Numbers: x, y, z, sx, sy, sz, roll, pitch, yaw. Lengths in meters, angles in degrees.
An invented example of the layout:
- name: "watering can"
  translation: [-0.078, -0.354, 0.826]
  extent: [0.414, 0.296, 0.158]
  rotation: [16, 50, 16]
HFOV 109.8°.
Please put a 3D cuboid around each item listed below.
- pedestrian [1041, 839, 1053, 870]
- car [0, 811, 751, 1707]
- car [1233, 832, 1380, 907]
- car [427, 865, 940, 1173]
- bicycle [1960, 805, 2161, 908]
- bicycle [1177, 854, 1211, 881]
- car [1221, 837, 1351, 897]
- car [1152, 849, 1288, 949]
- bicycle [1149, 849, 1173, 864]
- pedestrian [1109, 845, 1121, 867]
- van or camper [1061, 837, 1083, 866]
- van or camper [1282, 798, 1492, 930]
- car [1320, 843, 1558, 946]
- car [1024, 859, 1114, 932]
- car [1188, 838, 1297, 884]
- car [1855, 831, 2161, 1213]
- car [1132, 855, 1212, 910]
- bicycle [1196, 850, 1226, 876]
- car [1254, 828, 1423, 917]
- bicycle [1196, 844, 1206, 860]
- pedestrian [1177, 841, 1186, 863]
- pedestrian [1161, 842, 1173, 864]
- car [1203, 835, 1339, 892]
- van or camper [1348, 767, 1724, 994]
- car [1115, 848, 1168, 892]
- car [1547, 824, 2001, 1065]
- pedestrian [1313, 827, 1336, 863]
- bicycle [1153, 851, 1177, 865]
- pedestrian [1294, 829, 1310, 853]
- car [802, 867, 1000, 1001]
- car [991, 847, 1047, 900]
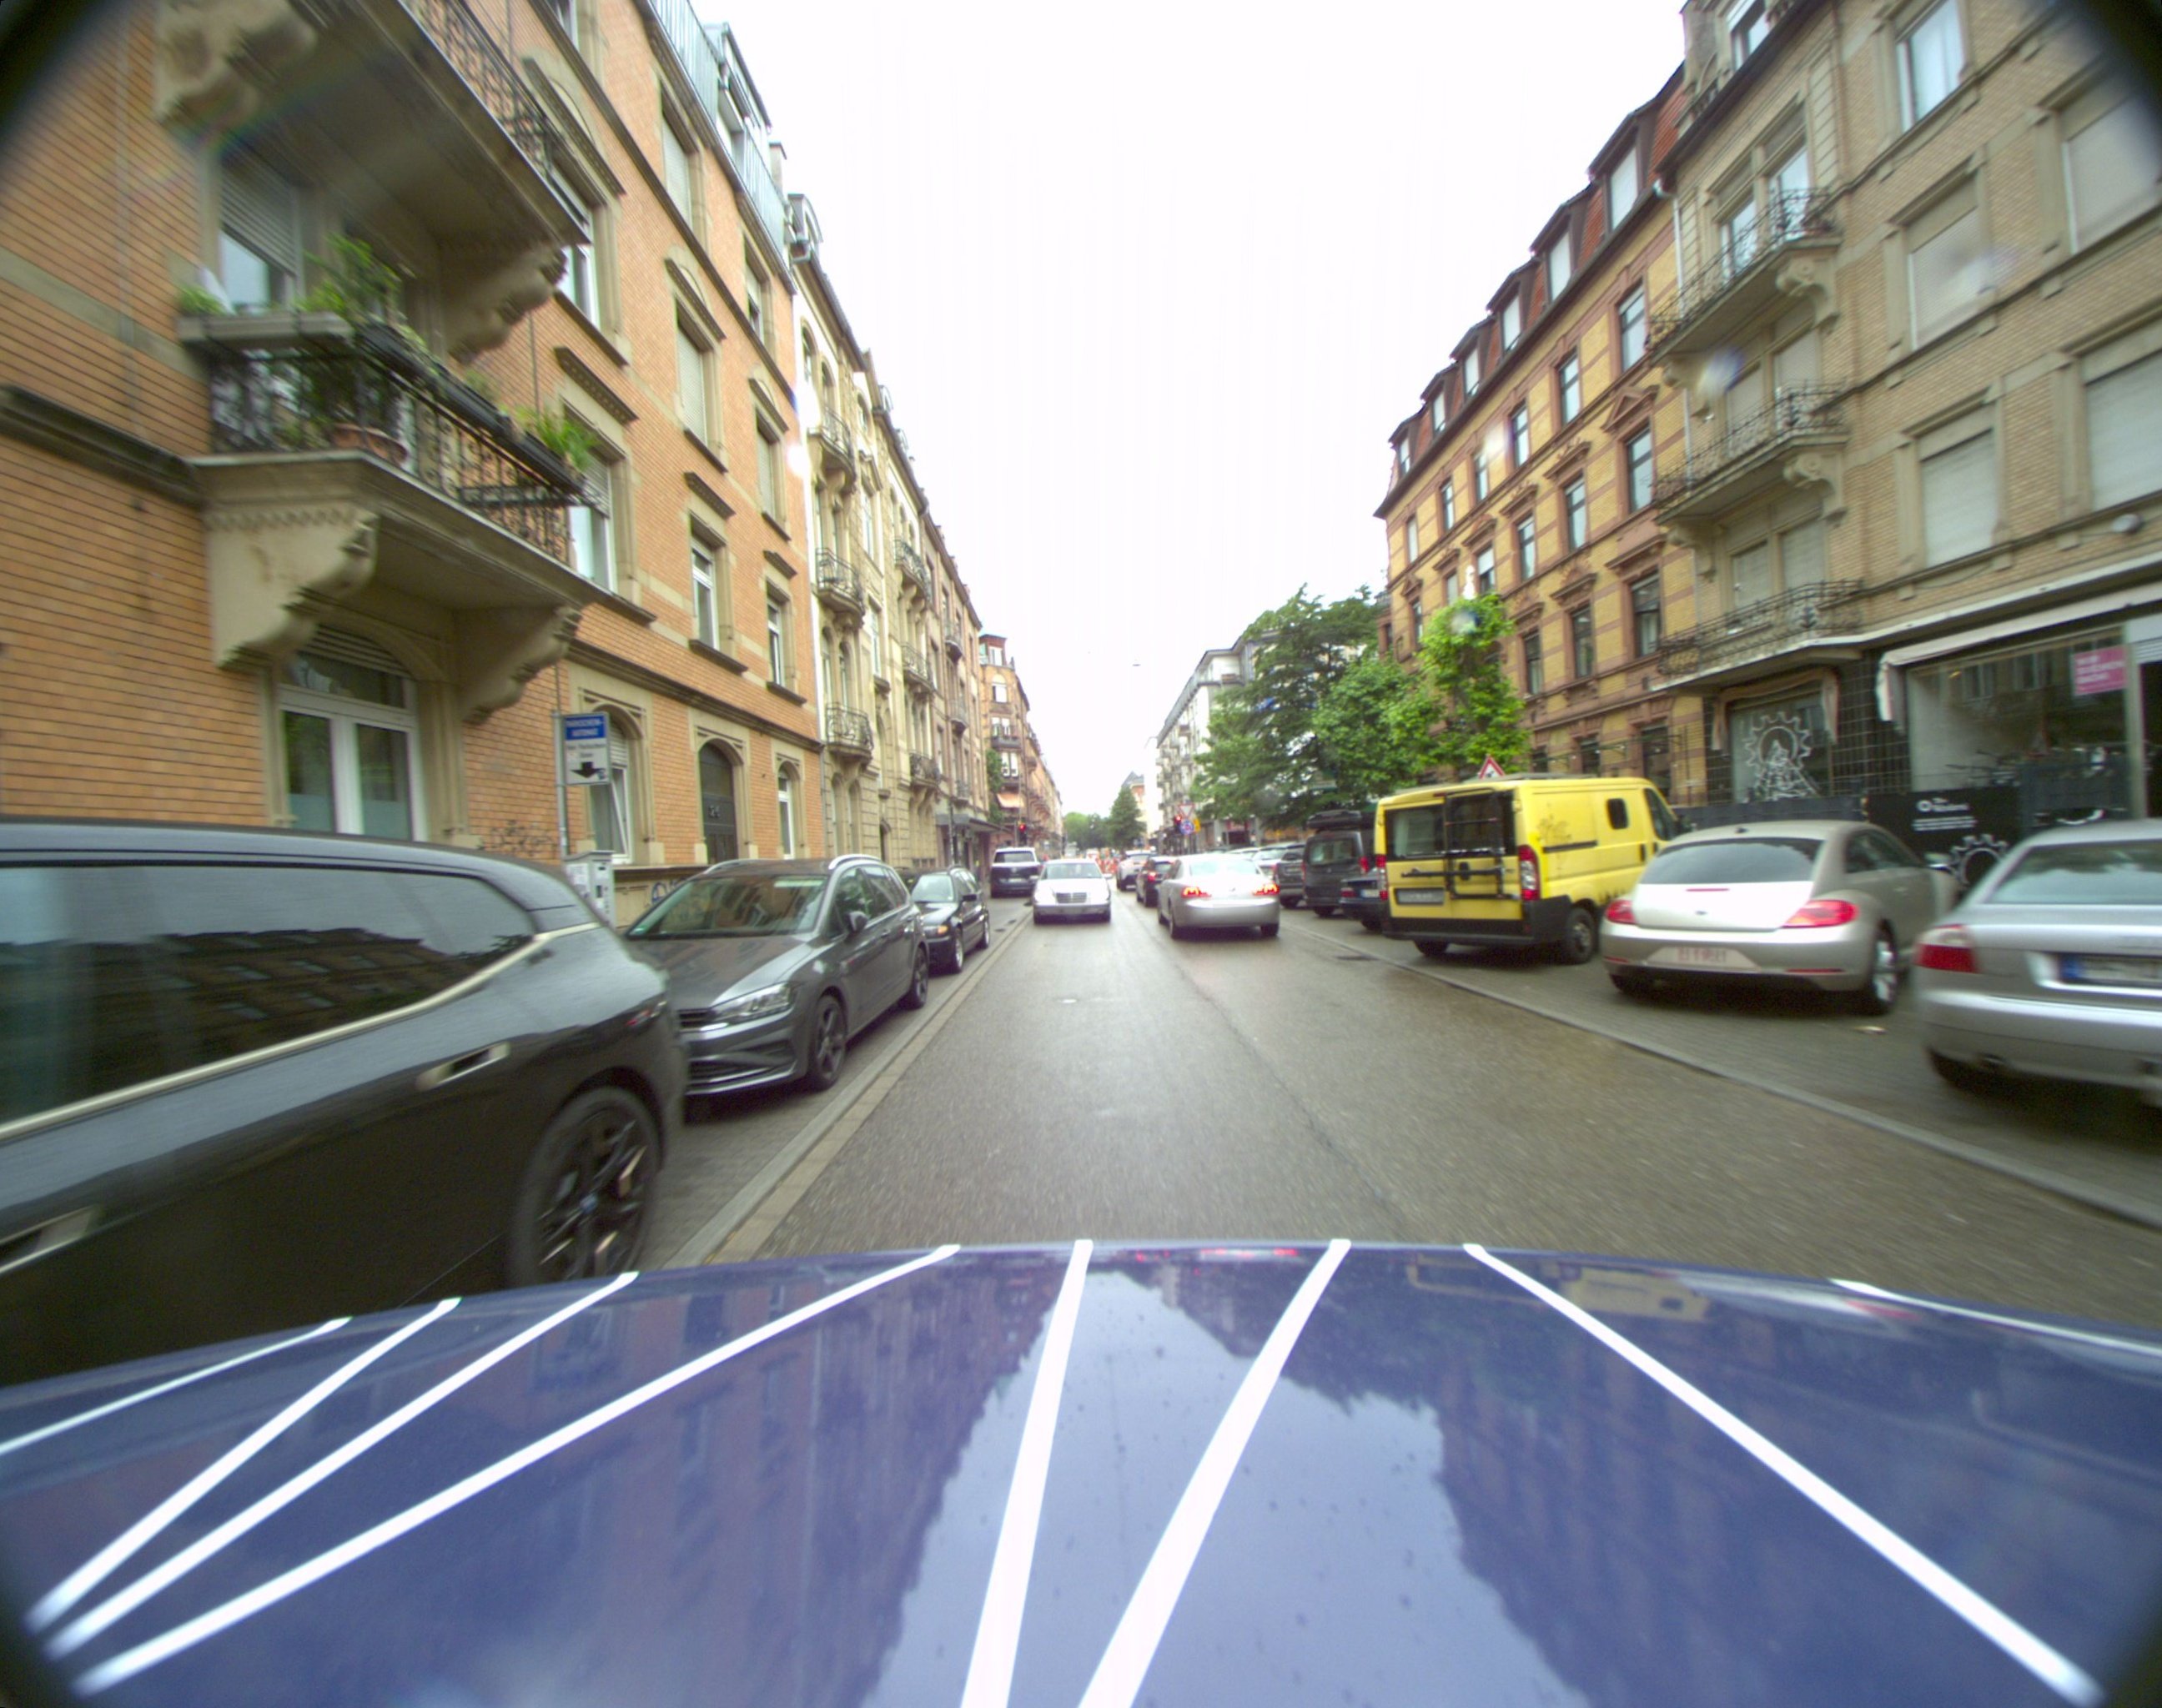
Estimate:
- name: "pedestrian"
  translation: [-2.917, 0.031, 65.835]
  extent: [0.696, 2.594, 0.539]
  rotation: [-5, 2, -31]
- name: "car"
  translation: [-2.602, 0.863, 1.217]
  extent: [1.999, 1.769, 4.825]
  rotation: [-3, 1, -1]
- name: "car"
  translation: [6.553, 0.409, 21.913]
  extent: [4.144, 1.653, 1.797]
  rotation: [-7, 2, -36]
- name: "car"
  translation: [-2.593, 0.946, 6.353]
  extent: [1.876, 1.552, 4.345]
  rotation: [-2, 0, 1]
- name: "bicycle"
  translation: [12.395, 0.021, 9.531]
  extent: [2.043, 1.168, 0.631]
  rotation: [-2, 1, -2]
- name: "bicycle"
  translation: [5.172, 0.619, 34.761]
  extent: [0.588, 1.137, 1.678]
  rotation: [-5, 1, -28]
- name: "car"
  translation: [6.774, 0.396, 24.934]
  extent: [4.143, 1.486, 1.797]
  rotation: [-7, 3, -35]
- name: "car"
  translation: [2.443, 0.779, 14.455]
  extent: [1.799, 1.484, 4.584]
  rotation: [-4, -2, 2]
- name: "bicycle"
  translation: [7.388, 0.234, 70.038]
  extent: [2.021, 1.188, 0.551]
  rotation: [-6, 0, 6]
- name: "pedestrian"
  translation: [2.940, 0.164, 66.002]
  extent: [0.717, 1.886, 0.606]
  rotation: [-3, 2, 36]
- name: "van or camper"
  translation: [-1.116, -0.264, 93.147]
  extent: [2.411, 3.308, 7.072]
  rotation: [-4, 0, -1]
- name: "van or camper"
  translation: [6.500, 0.123, 16.024]
  extent: [4.089, 2.227, 1.932]
  rotation: [-7, 3, -32]
- name: "car"
  translation: [6.281, 0.612, 13.246]
  extent: [4.006, 1.486, 1.823]
  rotation: [-1, 0, -31]
- name: "car"
  translation: [-0.170, 0.905, 18.792]
  extent: [1.859, 1.390, 4.980]
  rotation: [-3, 1, 2]
- name: "car"
  translation: [6.932, 0.264, 32.381]
  extent: [4.464, 1.555, 1.995]
  rotation: [-6, 3, -36]
- name: "car"
  translation: [6.192, 0.658, 4.071]
  extent: [4.005, 1.427, 1.780]
  rotation: [-4, 1, -28]
- name: "car"
  translation: [2.611, 0.785, 22.754]
  extent: [1.800, 1.485, 4.138]
  rotation: [-1, 0, -1]
- name: "bicycle"
  translation: [5.893, 0.401, 34.624]
  extent: [0.400, 1.137, 1.679]
  rotation: [-5, 1, -25]
- name: "car"
  translation: [6.412, 0.389, 18.752]
  extent: [4.144, 1.653, 1.797]
  rotation: [-7, 3, -36]
- name: "bicycle"
  translation: [10.651, -0.166, 67.537]
  extent: [0.450, 1.366, 2.024]
  rotation: [-6, 0, 2]
- name: "pedestrian"
  translation: [8.610, -0.196, 65.032]
  extent: [0.604, 1.837, 0.770]
  rotation: [-4, 1, 9]
- name: "pedestrian"
  translation: [7.495, -0.071, 66.194]
  extent: [0.862, 1.837, 0.770]
  rotation: [-4, 1, 9]
- name: "car"
  translation: [6.943, 0.328, 27.562]
  extent: [4.731, 1.554, 1.996]
  rotation: [-6, 0, -33]
- name: "van or camper"
  translation: [6.085, 0.186, 10.012]
  extent: [4.733, 2.254, 2.180]
  rotation: [-6, 0, -32]
- name: "car"
  translation: [2.504, 0.625, 32.348]
  extent: [1.863, 1.650, 5.008]
  rotation: [-2, 0, 0]
- name: "car"
  translation: [6.402, 0.593, 6.969]
  extent: [3.924, 1.486, 1.959]
  rotation: [-4, 1, -30]
- name: "pedestrian"
  translation: [14.306, -0.537, 44.681]
  extent: [0.942, 2.002, 0.865]
  rotation: [-3, 1, 36]
- name: "bicycle"
  translation: [7.298, 0.337, 66.116]
  extent: [1.896, 1.028, 0.661]
  rotation: [-6, 0, -14]
- name: "pedestrian"
  translation: [15.443, -0.881, 53.075]
  extent: [0.797, 1.606, 0.606]
  rotation: [-3, 2, 36]
- name: "car"
  translation: [-2.454, 1.025, 11.581]
  extent: [1.791, 1.458, 4.483]
  rotation: [-3, 0, 1]
- name: "car"
  translation: [-2.448, 0.690, 31.108]
  extent: [1.999, 1.928, 5.228]
  rotation: [-2, 1, -2]
